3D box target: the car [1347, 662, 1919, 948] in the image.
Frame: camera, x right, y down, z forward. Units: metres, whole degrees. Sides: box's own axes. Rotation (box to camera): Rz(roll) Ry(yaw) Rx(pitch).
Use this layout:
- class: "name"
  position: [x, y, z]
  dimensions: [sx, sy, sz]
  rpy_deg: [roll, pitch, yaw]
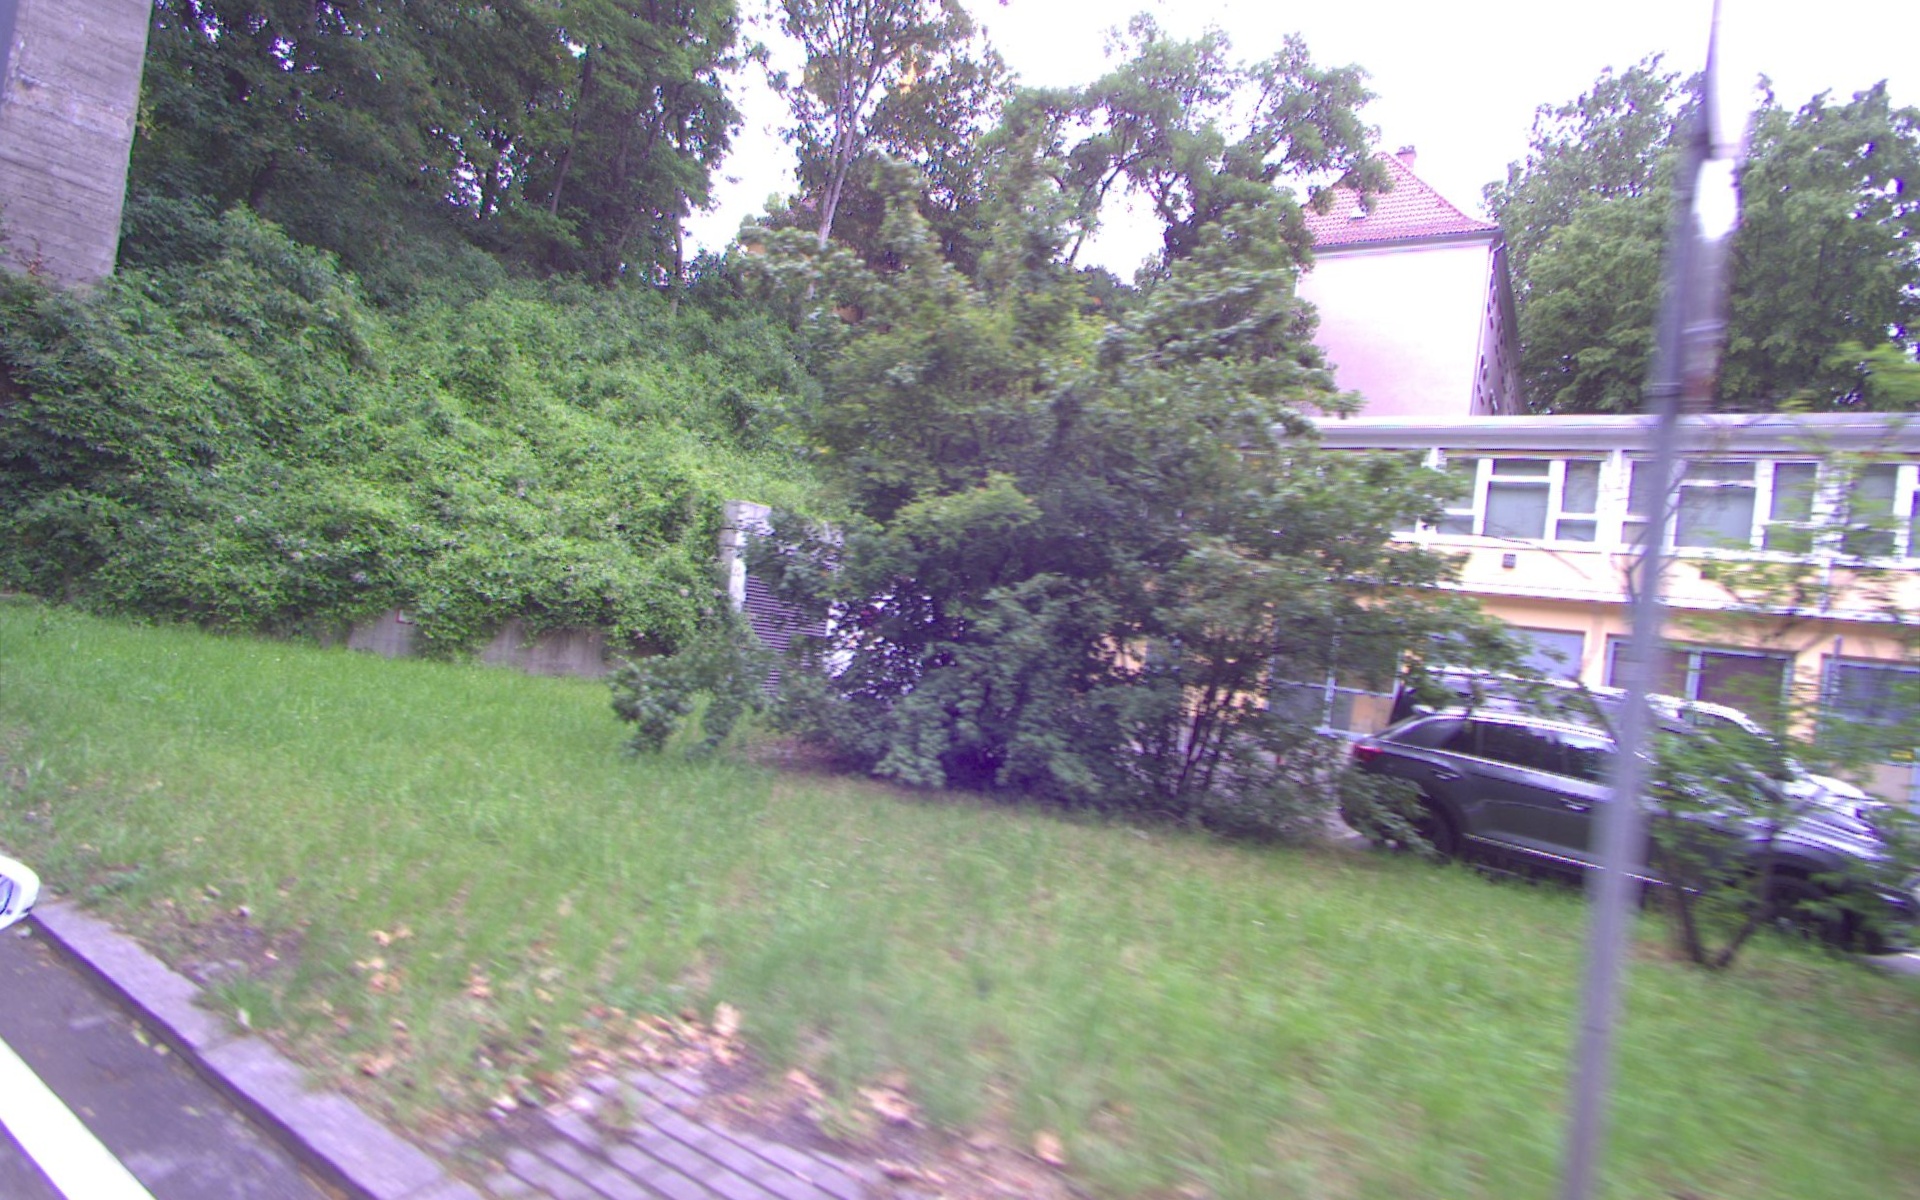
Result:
- class: "car"
  position: [6.970, 1.964, 10.843]
  dimensions: [4.804, 1.900, 1.860]
  rpy_deg: [7, -2, 32]

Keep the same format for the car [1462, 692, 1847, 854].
- class: "car"
  position: [9.865, 2.394, 14.676]
  dimensions: [4.256, 1.442, 1.798]
  rpy_deg: [6, -2, 34]

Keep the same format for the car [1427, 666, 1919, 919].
- class: "car"
  position: [8.436, 2.154, 12.362]
  dimensions: [4.489, 2.038, 1.859]
  rpy_deg: [6, -2, 34]

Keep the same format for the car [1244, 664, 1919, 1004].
- class: "car"
  position: [5.256, 1.730, 8.947]
  dimensions: [4.813, 1.687, 1.807]
  rpy_deg: [7, 0, 39]
